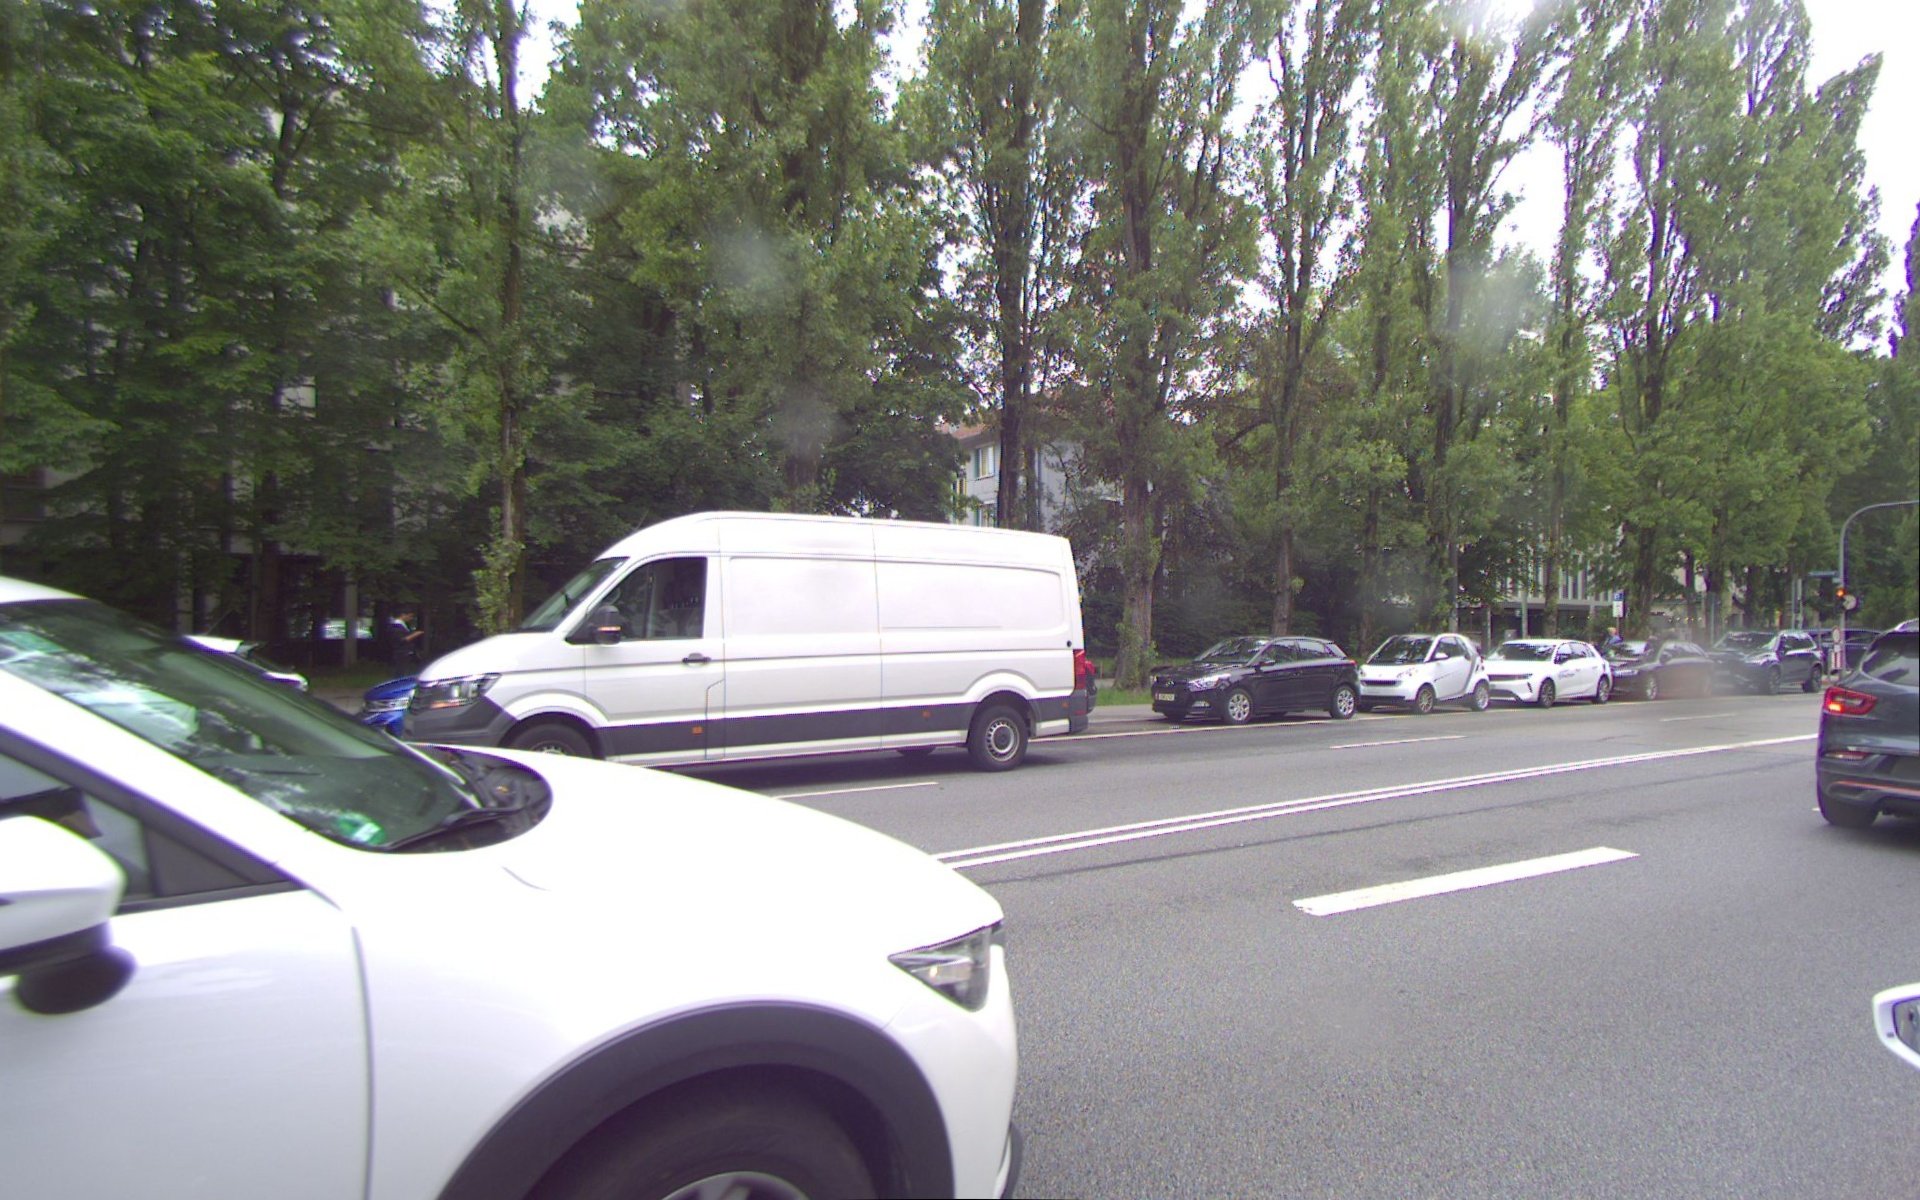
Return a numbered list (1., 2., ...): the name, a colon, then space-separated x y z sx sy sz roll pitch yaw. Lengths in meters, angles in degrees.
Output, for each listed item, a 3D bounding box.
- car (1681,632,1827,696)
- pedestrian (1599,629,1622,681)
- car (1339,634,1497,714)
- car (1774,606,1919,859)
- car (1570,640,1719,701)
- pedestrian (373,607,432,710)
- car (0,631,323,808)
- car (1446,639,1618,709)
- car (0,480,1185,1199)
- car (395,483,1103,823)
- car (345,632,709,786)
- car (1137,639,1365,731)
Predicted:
1. car: 22.301 1.764 28.178 4.646 1.675 1.838 1 -4 -34
2. pedestrian: 19.360 1.630 29.900 0.390 1.548 0.463 1 -1 -30
3. car: 9.093 1.446 19.911 2.932 1.466 1.420 1 -4 -32
4. car: 7.994 0.899 7.344 4.136 1.607 1.826 1 0 -30
5. car: 17.085 1.717 25.023 4.123 1.407 1.614 1 -4 -34
6. pedestrian: -10.071 1.034 18.159 0.879 1.795 0.733 1 0 -30
7. car: -8.342 1.045 9.208 4.187 1.471 1.761 1 -4 -33
8. car: 12.680 1.585 22.198 4.123 1.407 1.614 1 -4 -34
9. car: -1.749 0.654 1.773 3.960 1.545 1.897 1 -1 -29
10. car: -1.840 0.501 10.176 6.683 2.515 2.216 1 -3 -32
11. car: -4.819 1.130 11.298 3.547 1.470 1.700 1 -4 -33
12. car: 5.070 1.420 17.413 3.805 1.444 1.594 1 -4 -30
